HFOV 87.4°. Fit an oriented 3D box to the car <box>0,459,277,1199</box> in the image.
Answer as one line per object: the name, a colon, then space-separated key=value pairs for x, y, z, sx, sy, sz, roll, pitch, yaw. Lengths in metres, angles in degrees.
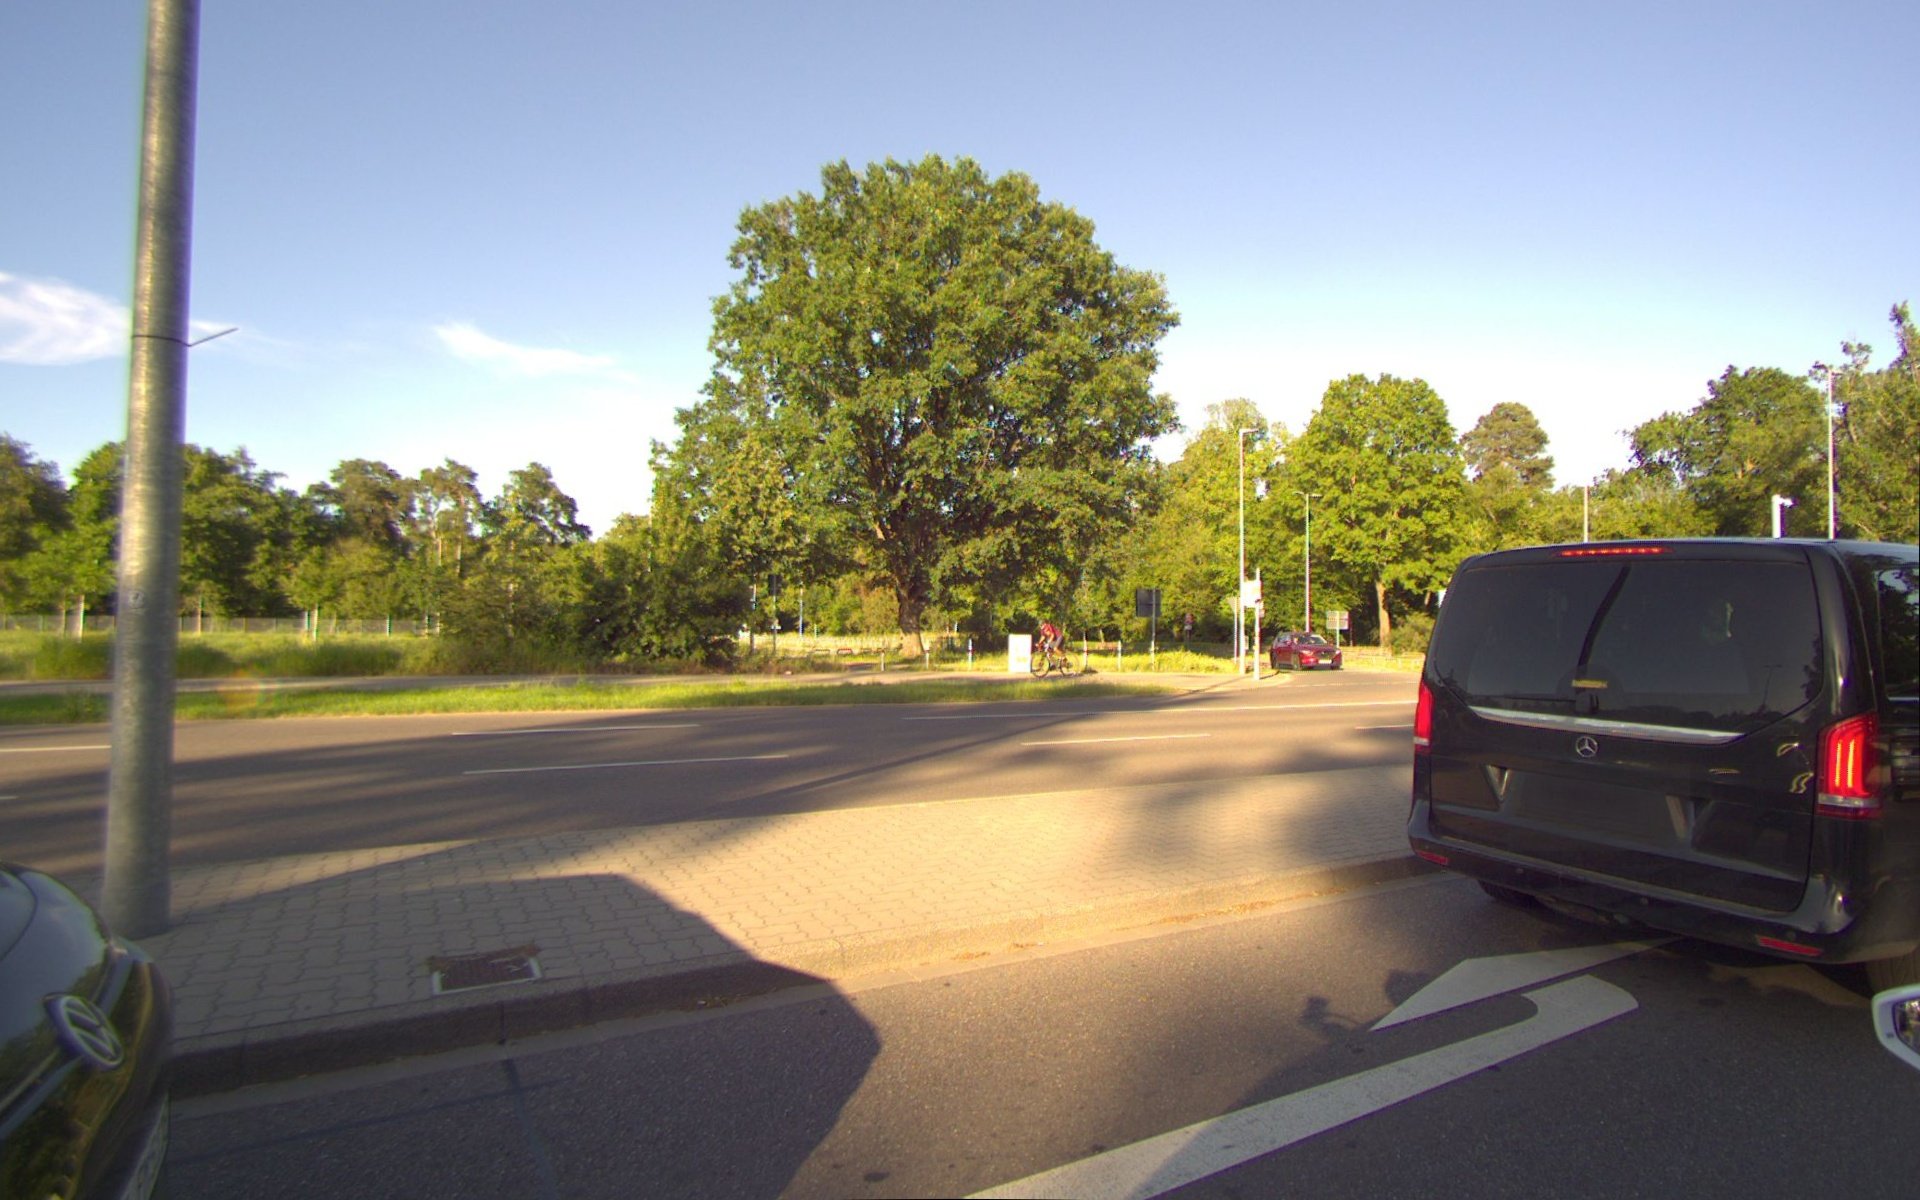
car: x=-3.006 y=0.566 z=0.760 sx=3.955 sy=1.557 sz=1.868 roll=2 pitch=0 yaw=-31

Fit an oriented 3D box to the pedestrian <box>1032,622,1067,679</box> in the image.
pedestrian: x=2.532 y=1.432 z=28.472 sx=0.664 sy=1.564 sz=0.737 roll=2 pitch=0 yaw=-27

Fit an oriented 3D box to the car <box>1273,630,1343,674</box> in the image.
car: x=14.761 y=2.166 z=42.801 sx=1.959 sy=1.639 sz=4.002 roll=2 pitch=0 yaw=7

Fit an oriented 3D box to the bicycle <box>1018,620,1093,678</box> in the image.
bicycle: x=2.734 y=1.398 z=28.566 sx=1.996 sy=1.571 sz=0.748 roll=2 pitch=0 yaw=-27

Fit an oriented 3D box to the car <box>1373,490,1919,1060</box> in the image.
car: x=4.595 y=0.606 z=5.355 sx=4.816 sy=1.881 sz=1.898 roll=1 pitch=0 yaw=-30
